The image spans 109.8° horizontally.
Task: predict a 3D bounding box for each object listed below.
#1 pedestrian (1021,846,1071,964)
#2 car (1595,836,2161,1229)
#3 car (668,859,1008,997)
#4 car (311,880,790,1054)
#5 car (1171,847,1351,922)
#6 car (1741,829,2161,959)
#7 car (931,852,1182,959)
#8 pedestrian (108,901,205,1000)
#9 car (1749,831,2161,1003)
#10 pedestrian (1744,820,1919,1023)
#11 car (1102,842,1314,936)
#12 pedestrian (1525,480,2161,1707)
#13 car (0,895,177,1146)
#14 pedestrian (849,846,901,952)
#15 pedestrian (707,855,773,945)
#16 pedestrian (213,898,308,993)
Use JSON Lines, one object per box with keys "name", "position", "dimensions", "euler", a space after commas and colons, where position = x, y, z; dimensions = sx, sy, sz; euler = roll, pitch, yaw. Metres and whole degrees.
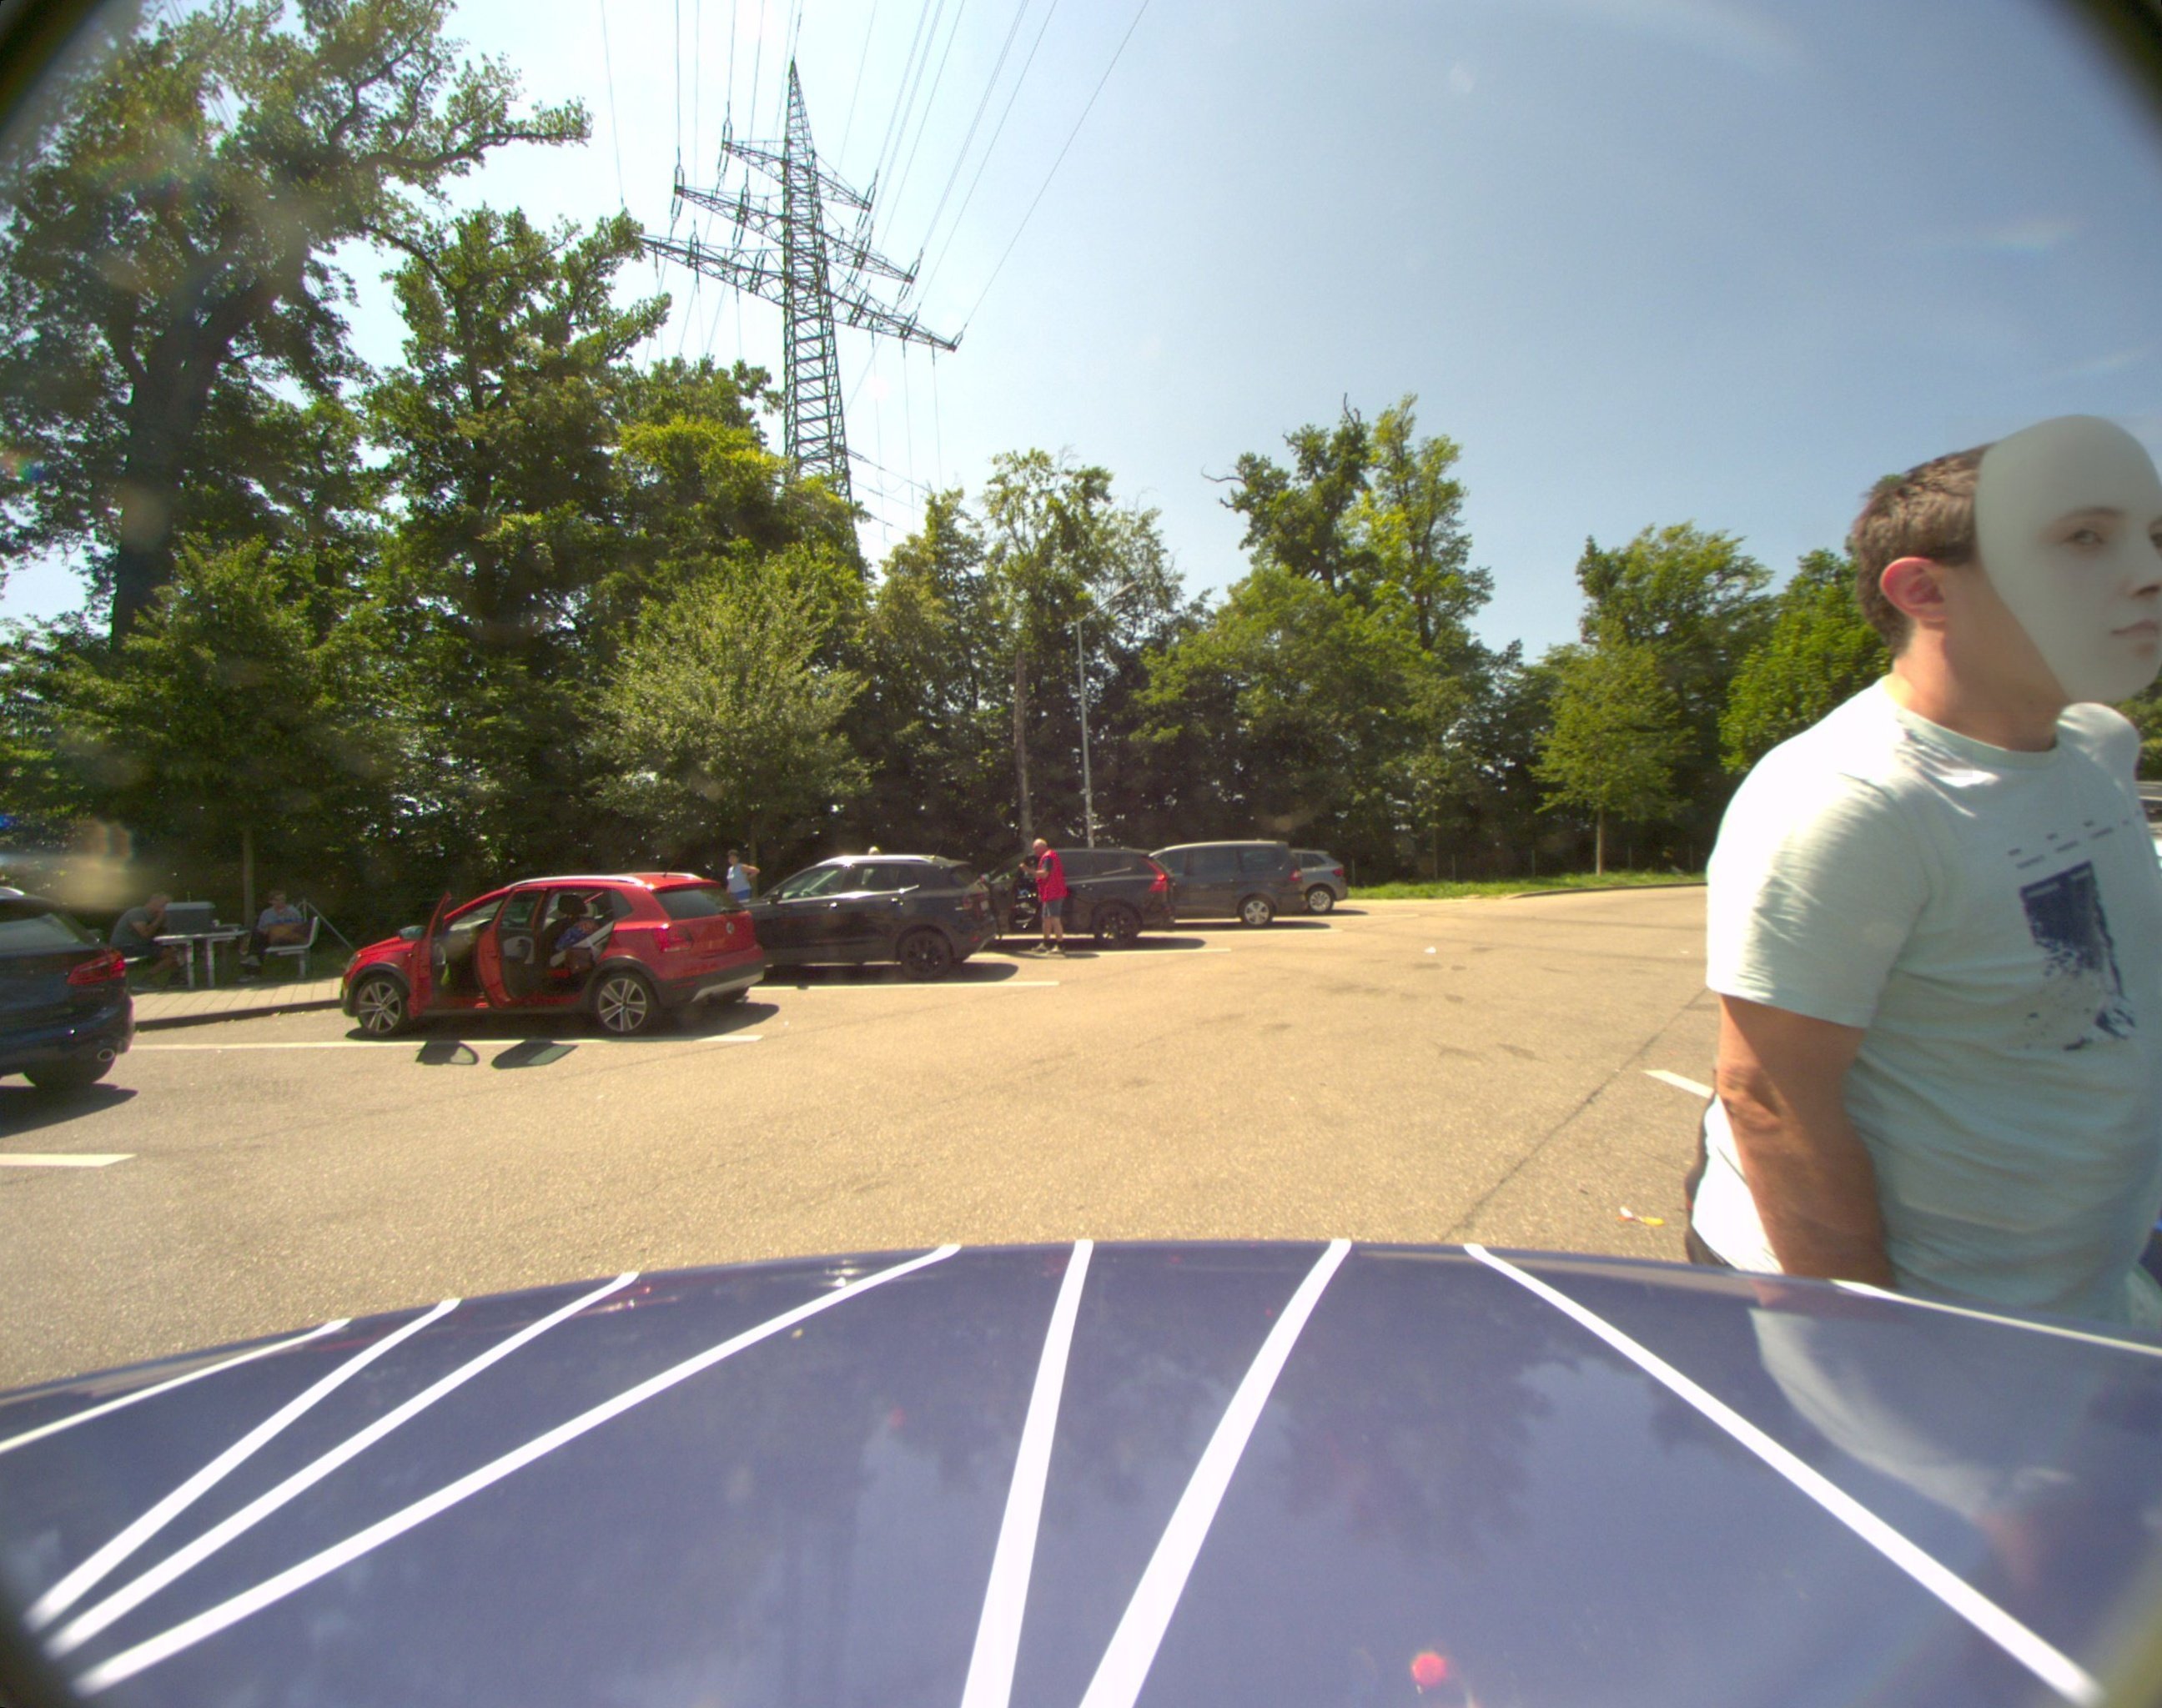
{"name": "pedestrian", "position": [-0.529, 0.775, 11.715], "dimensions": [0.660, 1.745, 0.636], "euler": [-2, 0, 1]}
{"name": "car", "position": [4.909, 0.656, 3.658], "dimensions": [1.779, 1.456, 4.470], "euler": [-2, -1, 0]}
{"name": "car", "position": [-3.143, 0.938, 10.381], "dimensions": [3.966, 1.582, 1.841], "euler": [-2, 0, 3]}
{"name": "car", "position": [-5.190, 1.072, 7.722], "dimensions": [3.704, 1.448, 1.781], "euler": [-2, 0, 7]}
{"name": "car", "position": [4.181, 0.711, 18.204], "dimensions": [3.964, 1.577, 1.781], "euler": [-2, 0, 7]}
{"name": "car", "position": [12.368, 0.474, 10.943], "dimensions": [1.779, 1.456, 4.470], "euler": [-2, -1, 0]}
{"name": "car", "position": [-0.324, 0.839, 12.960], "dimensions": [3.964, 1.582, 1.781], "euler": [-2, 0, 8]}
{"name": "pedestrian", "position": [-12.734, 1.305, 10.477], "dimensions": [0.652, 1.262, 0.672], "euler": [-2, 0, 24]}
{"name": "car", "position": [10.066, 0.531, 8.159], "dimensions": [1.779, 1.456, 4.470], "euler": [-2, -1, 0]}
{"name": "pedestrian", "position": [6.306, 0.545, 6.429], "dimensions": [0.672, 1.592, 0.759], "euler": [-2, 0, 1]}
{"name": "car", "position": [2.512, 0.695, 15.452], "dimensions": [3.964, 1.678, 1.781], "euler": [-2, 0, 7]}
{"name": "pedestrian", "position": [0.973, 0.618, 0.739], "dimensions": [0.687, 1.699, 0.578], "euler": [-2, 0, 1]}
{"name": "car", "position": [-8.916, 1.158, 5.004], "dimensions": [4.011, 1.558, 1.846], "euler": [-2, 0, 6]}
{"name": "pedestrian", "position": [-3.762, 0.806, 13.853], "dimensions": [0.682, 1.854, 0.713], "euler": [-2, 0, -30]}
{"name": "pedestrian", "position": [-6.260, 0.820, 13.975], "dimensions": [0.713, 1.584, 0.811], "euler": [-2, 0, 37]}
{"name": "pedestrian", "position": [-11.894, 1.305, 11.026], "dimensions": [0.828, 1.287, 0.672], "euler": [-2, 0, 24]}
